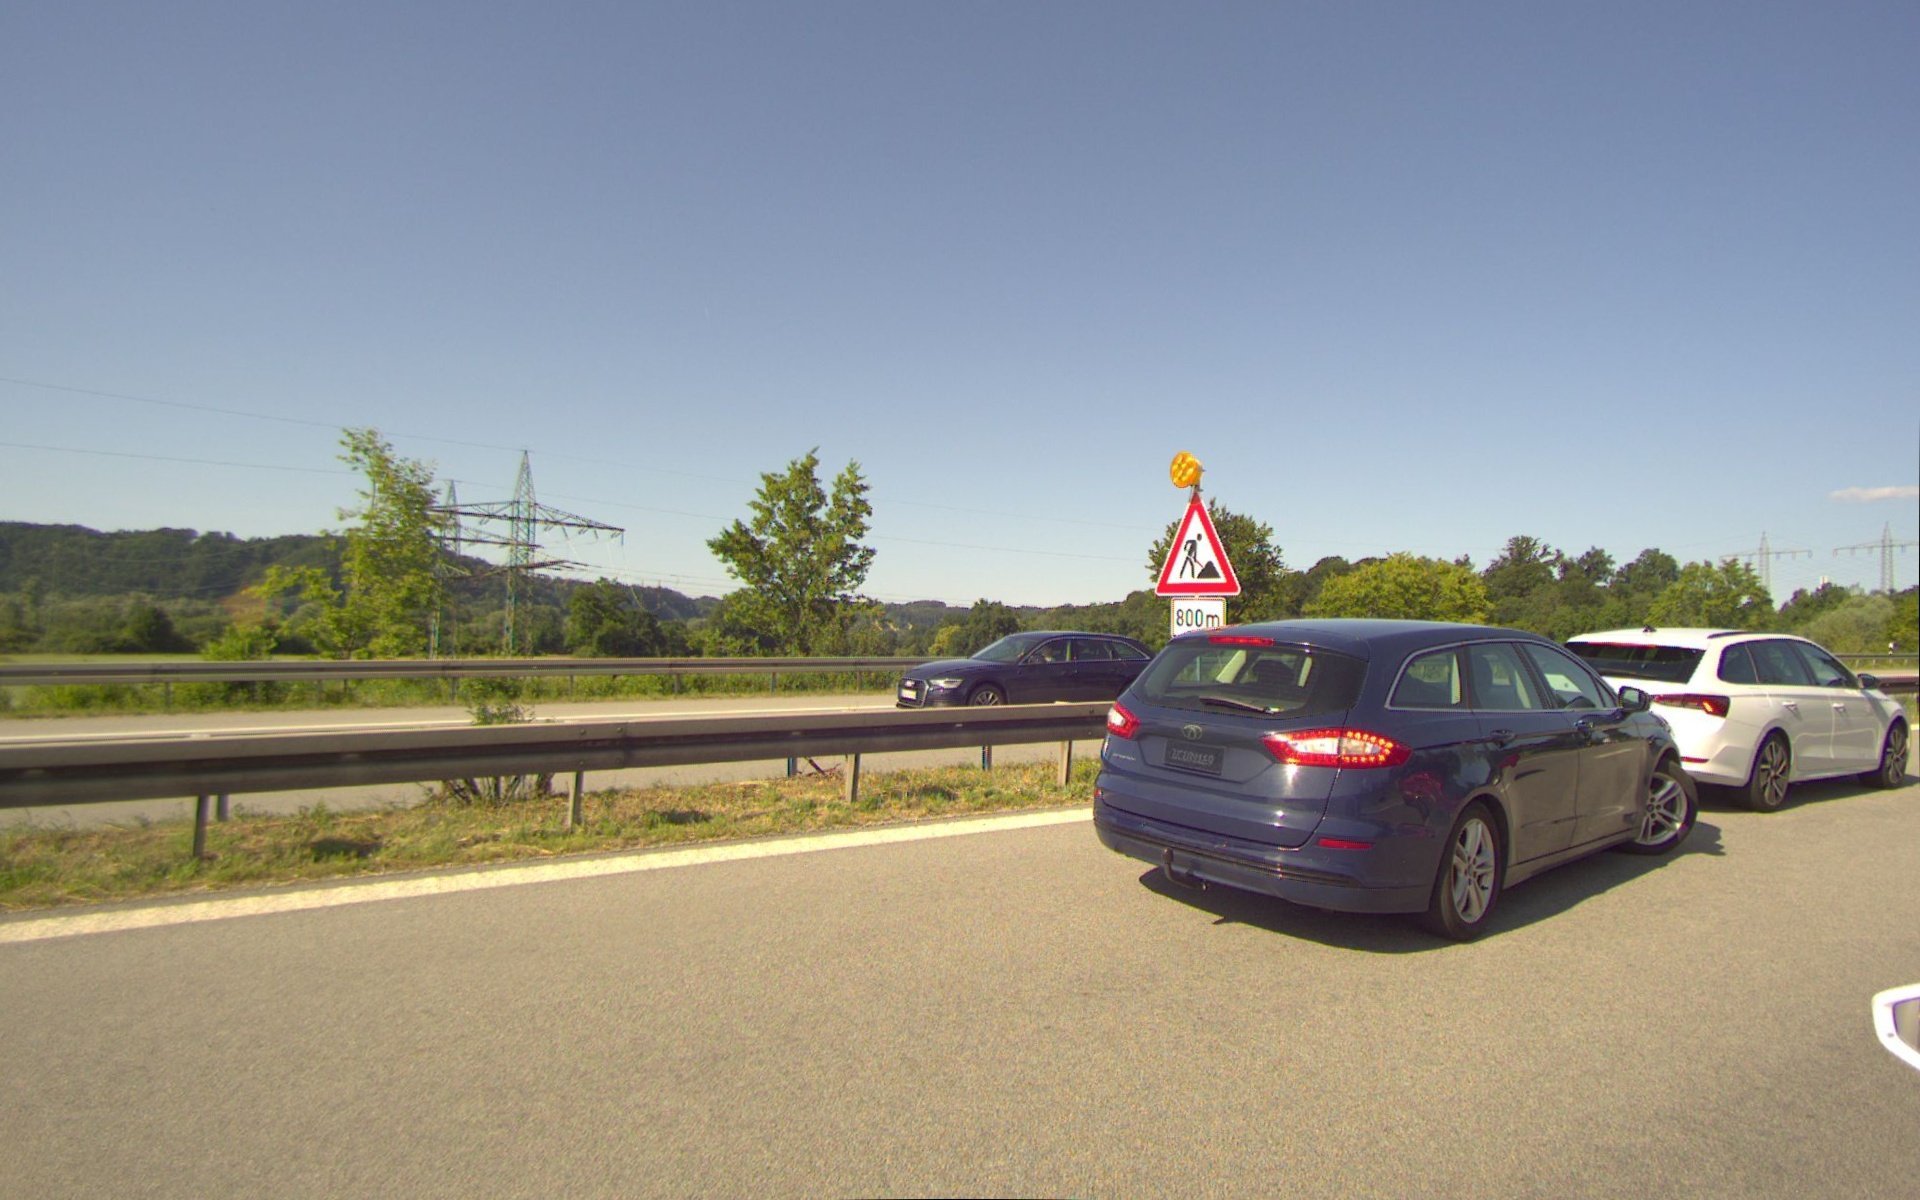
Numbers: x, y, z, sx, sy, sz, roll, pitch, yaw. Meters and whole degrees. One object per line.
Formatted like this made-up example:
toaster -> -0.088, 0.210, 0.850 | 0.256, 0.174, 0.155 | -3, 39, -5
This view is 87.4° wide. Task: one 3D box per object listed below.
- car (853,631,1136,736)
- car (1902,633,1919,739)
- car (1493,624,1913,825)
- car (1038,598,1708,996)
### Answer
car -> 0.613, 1.274, 16.252 | 4.356, 1.444, 1.703 | 2, 0, -31
car -> 15.317, 1.239, 14.298 | 4.284, 1.445, 1.686 | 2, 0, -31
car -> 6.980, 0.996, 9.336 | 4.162, 1.461, 1.686 | 2, 0, -31
car -> 2.682, 0.814, 5.937 | 4.455, 1.513, 1.774 | 2, -2, -39
